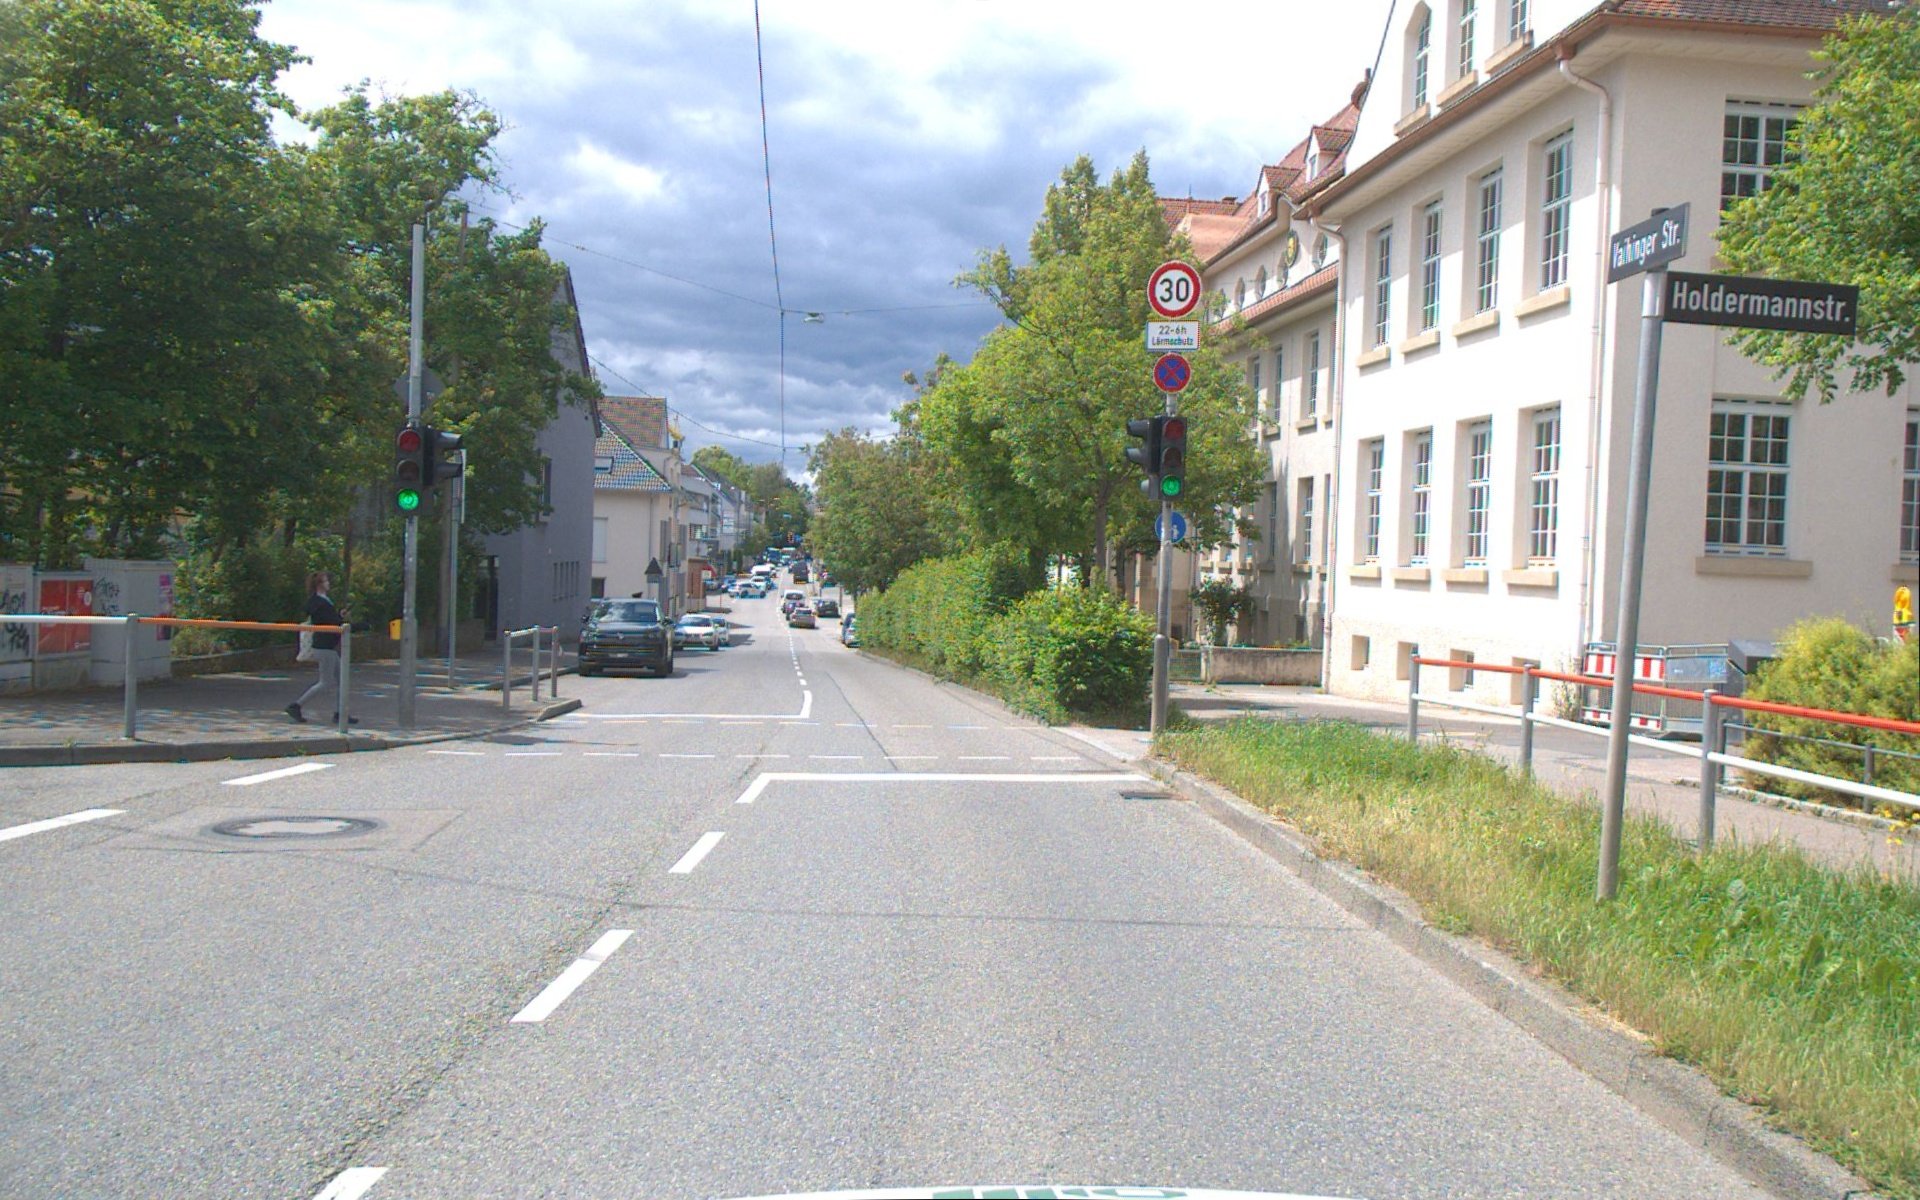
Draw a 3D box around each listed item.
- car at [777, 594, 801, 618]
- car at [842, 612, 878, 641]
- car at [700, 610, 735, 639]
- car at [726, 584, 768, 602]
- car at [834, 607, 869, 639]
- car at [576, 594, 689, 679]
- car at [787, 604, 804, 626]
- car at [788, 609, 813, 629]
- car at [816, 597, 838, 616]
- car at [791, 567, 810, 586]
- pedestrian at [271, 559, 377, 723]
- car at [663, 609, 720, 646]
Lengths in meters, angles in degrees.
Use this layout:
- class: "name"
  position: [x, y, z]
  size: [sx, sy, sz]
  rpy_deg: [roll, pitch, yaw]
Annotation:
- class: "car"
  position: [-14.652, 0.491, 141.396]
  size: [1.803, 1.894, 3.842]
  rpy_deg: [2, 0, -9]
- class: "car"
  position: [-5.618, 1.450, 92.345]
  size: [1.752, 1.535, 4.358]
  rpy_deg: [2, -1, -6]
- class: "car"
  position: [-12.683, 1.274, 86.485]
  size: [1.615, 1.443, 3.693]
  rpy_deg: [3, -1, -6]
- class: "car"
  position: [-21.257, -0.706, 165.324]
  size: [1.756, 1.518, 3.976]
  rpy_deg: [3, -1, 41]
- class: "car"
  position: [-6.477, 1.359, 98.137]
  size: [1.809, 1.798, 4.509]
  rpy_deg: [2, -1, -6]
- class: "car"
  position: [-6.909, 0.729, 35.330]
  size: [1.760, 1.638, 4.641]
  rpy_deg: [2, 0, -4]
- class: "car"
  position: [-13.086, 1.200, 131.590]
  size: [1.249, 1.553, 3.047]
  rpy_deg: [1, 3, -7]
- class: "car"
  position: [-11.825, 1.386, 122.456]
  size: [1.710, 1.441, 3.995]
  rpy_deg: [1, 0, -6]
- class: "car"
  position: [-11.124, 0.551, 138.330]
  size: [1.719, 1.394, 3.997]
  rpy_deg: [2, 2, -5]
- class: "car"
  position: [-21.366, -3.135, 221.658]
  size: [2.390, 2.359, 5.319]
  rpy_deg: [3, 0, -6]
- class: "pedestrian"
  position: [-6.508, 0.412, 16.920]
  size: [0.766, 1.625, 0.662]
  rpy_deg: [3, -1, -42]
- class: "car"
  position: [-11.106, 1.132, 68.311]
  size: [1.671, 1.415, 3.845]
  rpy_deg: [1, 0, -19]
